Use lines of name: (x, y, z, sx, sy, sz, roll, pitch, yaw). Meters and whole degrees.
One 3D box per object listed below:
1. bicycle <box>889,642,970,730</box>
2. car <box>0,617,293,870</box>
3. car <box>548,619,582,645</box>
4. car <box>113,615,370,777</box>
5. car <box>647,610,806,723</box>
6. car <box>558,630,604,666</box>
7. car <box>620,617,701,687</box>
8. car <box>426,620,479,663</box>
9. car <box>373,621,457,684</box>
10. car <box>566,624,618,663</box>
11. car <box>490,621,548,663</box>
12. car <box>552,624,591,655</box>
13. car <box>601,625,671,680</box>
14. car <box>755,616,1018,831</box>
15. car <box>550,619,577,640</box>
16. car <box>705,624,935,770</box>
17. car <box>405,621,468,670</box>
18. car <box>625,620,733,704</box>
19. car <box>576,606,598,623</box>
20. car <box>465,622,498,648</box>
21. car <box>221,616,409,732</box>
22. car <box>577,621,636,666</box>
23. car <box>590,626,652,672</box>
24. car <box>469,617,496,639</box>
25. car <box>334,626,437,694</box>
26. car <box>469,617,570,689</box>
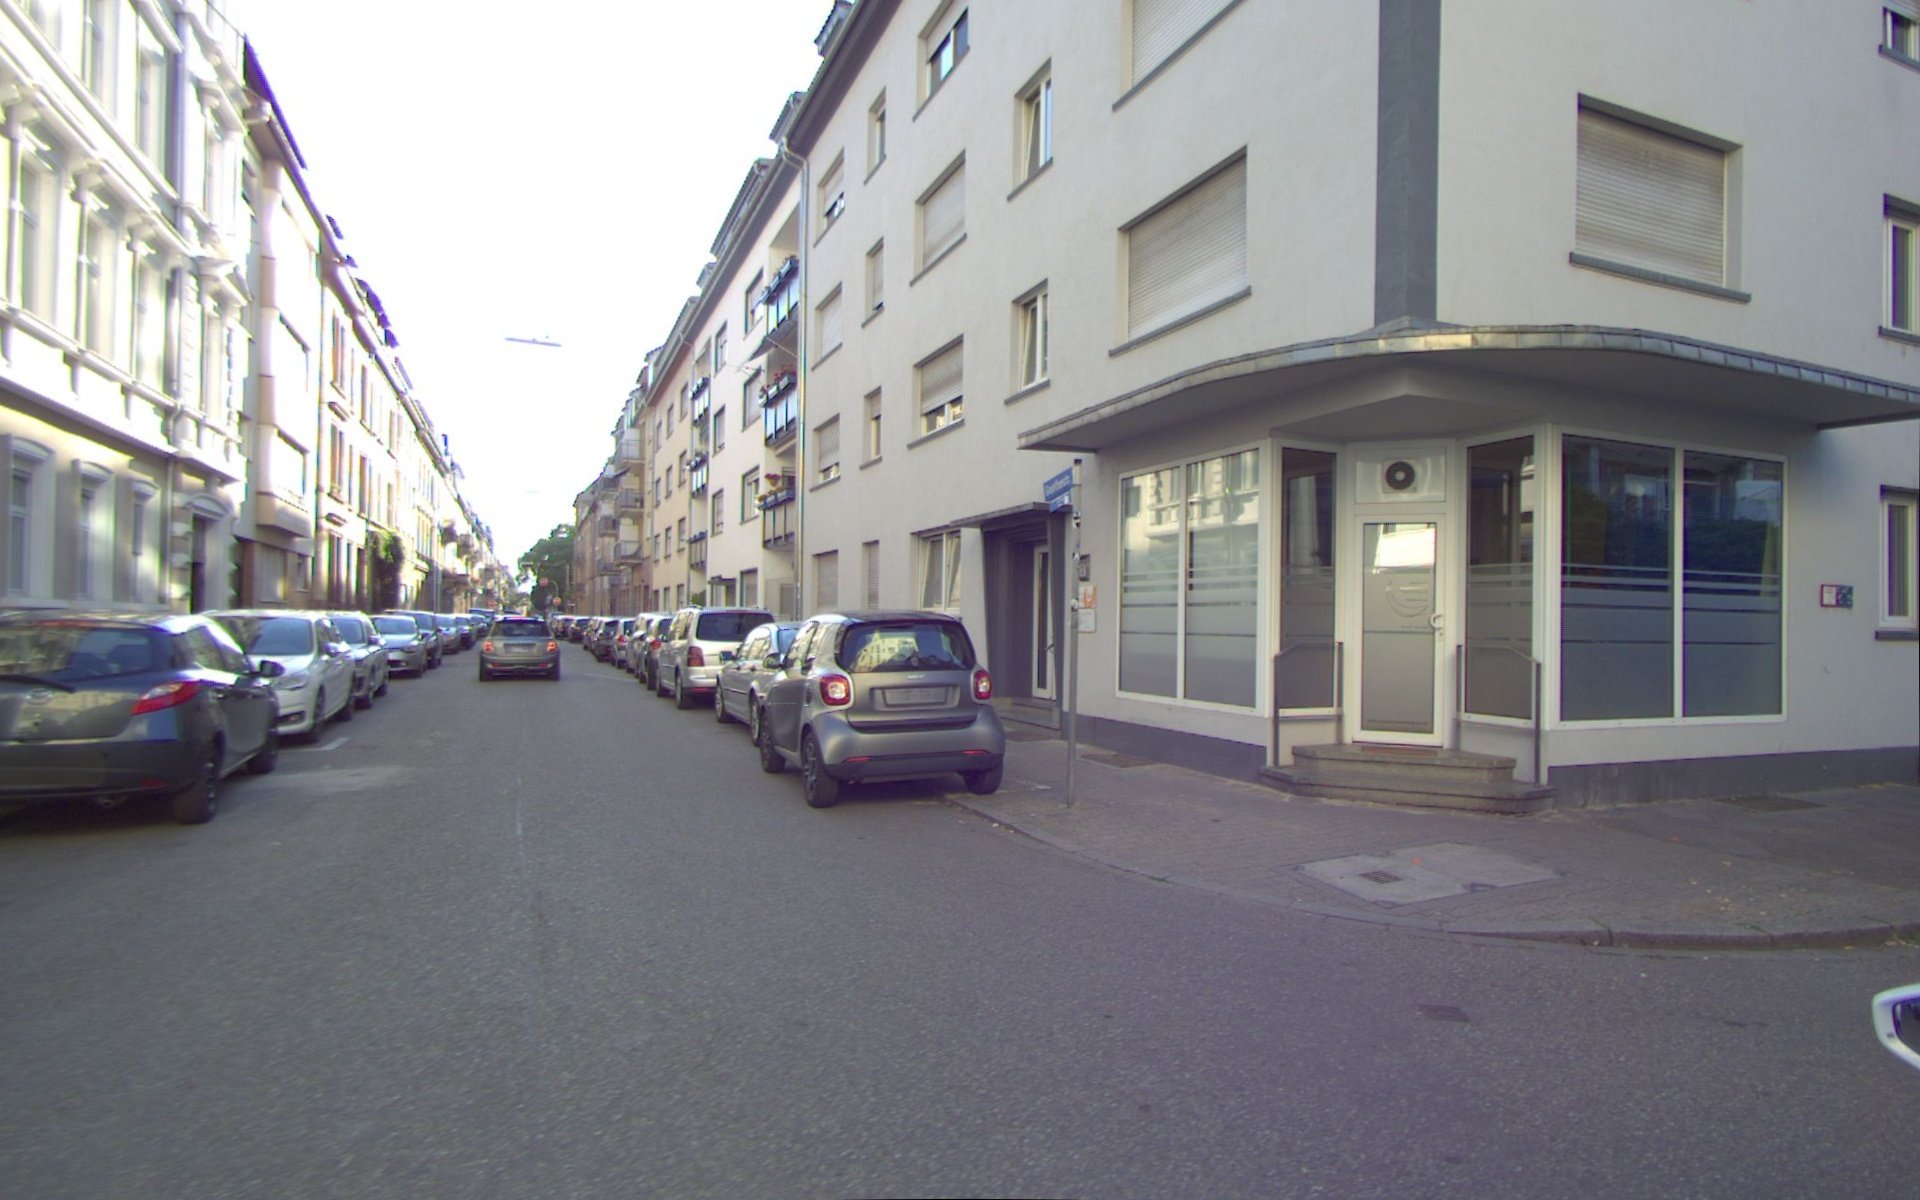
bicycle: (-0.505, 1.279, 15.462, 0.482, 1.152, 2.045, 1, 0, -24)
car: (-6.438, 0.909, 7.828, 1.666, 1.499, 3.564, 1, -1, -28)
car: (-25.807, 2.085, 65.628, 1.810, 1.581, 4.067, 1, -1, -25)
car: (-8.489, 1.001, 12.268, 1.810, 1.581, 4.067, 1, -1, -25)
car: (-4.170, 1.039, 17.416, 1.972, 1.675, 4.069, 1, -1, -24)
car: (-18.483, 2.320, 48.928, 1.810, 1.581, 4.067, 1, -1, -25)
car: (-7.973, 1.310, 26.588, 1.635, 1.666, 3.586, 1, -1, -23)
car: (-20.741, 1.653, 41.163, 1.810, 1.581, 4.067, 1, -1, -25)
car: (-15.288, 1.408, 28.344, 1.810, 1.581, 4.067, 1, -1, -25)
car: (-16.408, 1.876, 44.648, 1.810, 1.581, 4.067, 1, -1, -25)
car: (-17.624, 1.625, 40.241, 1.972, 1.506, 4.637, 1, -1, -23)
car: (-22.088, 2.207, 57.068, 1.810, 1.581, 4.067, 1, -1, -25)
car: (-10.051, 1.563, 31.017, 1.568, 1.507, 3.958, 1, -1, -25)
car: (-0.795, 0.962, 9.150, 1.624, 1.586, 2.749, 1, 0, -22)
car: (-32.624, 2.425, 82.790, 1.970, 1.646, 4.563, 1, -1, -20)
car: (-1.986, 1.084, 12.984, 1.940, 1.472, 4.241, 1, -1, -23)
car: (-18.798, 1.596, 36.231, 1.810, 1.581, 4.067, 1, -1, -25)
car: (-6.154, 1.249, 21.684, 1.605, 1.581, 4.067, 1, -1, -25)
car: (-37.194, 1.441, 100.115, 1.970, 1.646, 4.563, 1, -1, -20)
car: (-30.417, 2.196, 63.876, 1.810, 1.581, 4.067, 1, -1, -25)
car: (-10.318, 1.085, 16.396, 1.981, 1.581, 4.068, 1, -1, -24)
car: (-13.931, 1.666, 39.441, 1.810, 1.581, 4.067, 1, -1, -25)
car: (-11.852, 1.646, 34.961, 1.608, 1.425, 3.968, 1, -1, -25)
car: (-35.928, 2.064, 75.634, 1.810, 1.581, 4.067, 1, -1, -25)
car: (-13.531, 1.363, 23.853, 1.810, 1.422, 3.572, 1, -1, -25)
car: (-10.322, 1.169, 23.554, 1.972, 1.506, 3.976, 1, -1, -24)
